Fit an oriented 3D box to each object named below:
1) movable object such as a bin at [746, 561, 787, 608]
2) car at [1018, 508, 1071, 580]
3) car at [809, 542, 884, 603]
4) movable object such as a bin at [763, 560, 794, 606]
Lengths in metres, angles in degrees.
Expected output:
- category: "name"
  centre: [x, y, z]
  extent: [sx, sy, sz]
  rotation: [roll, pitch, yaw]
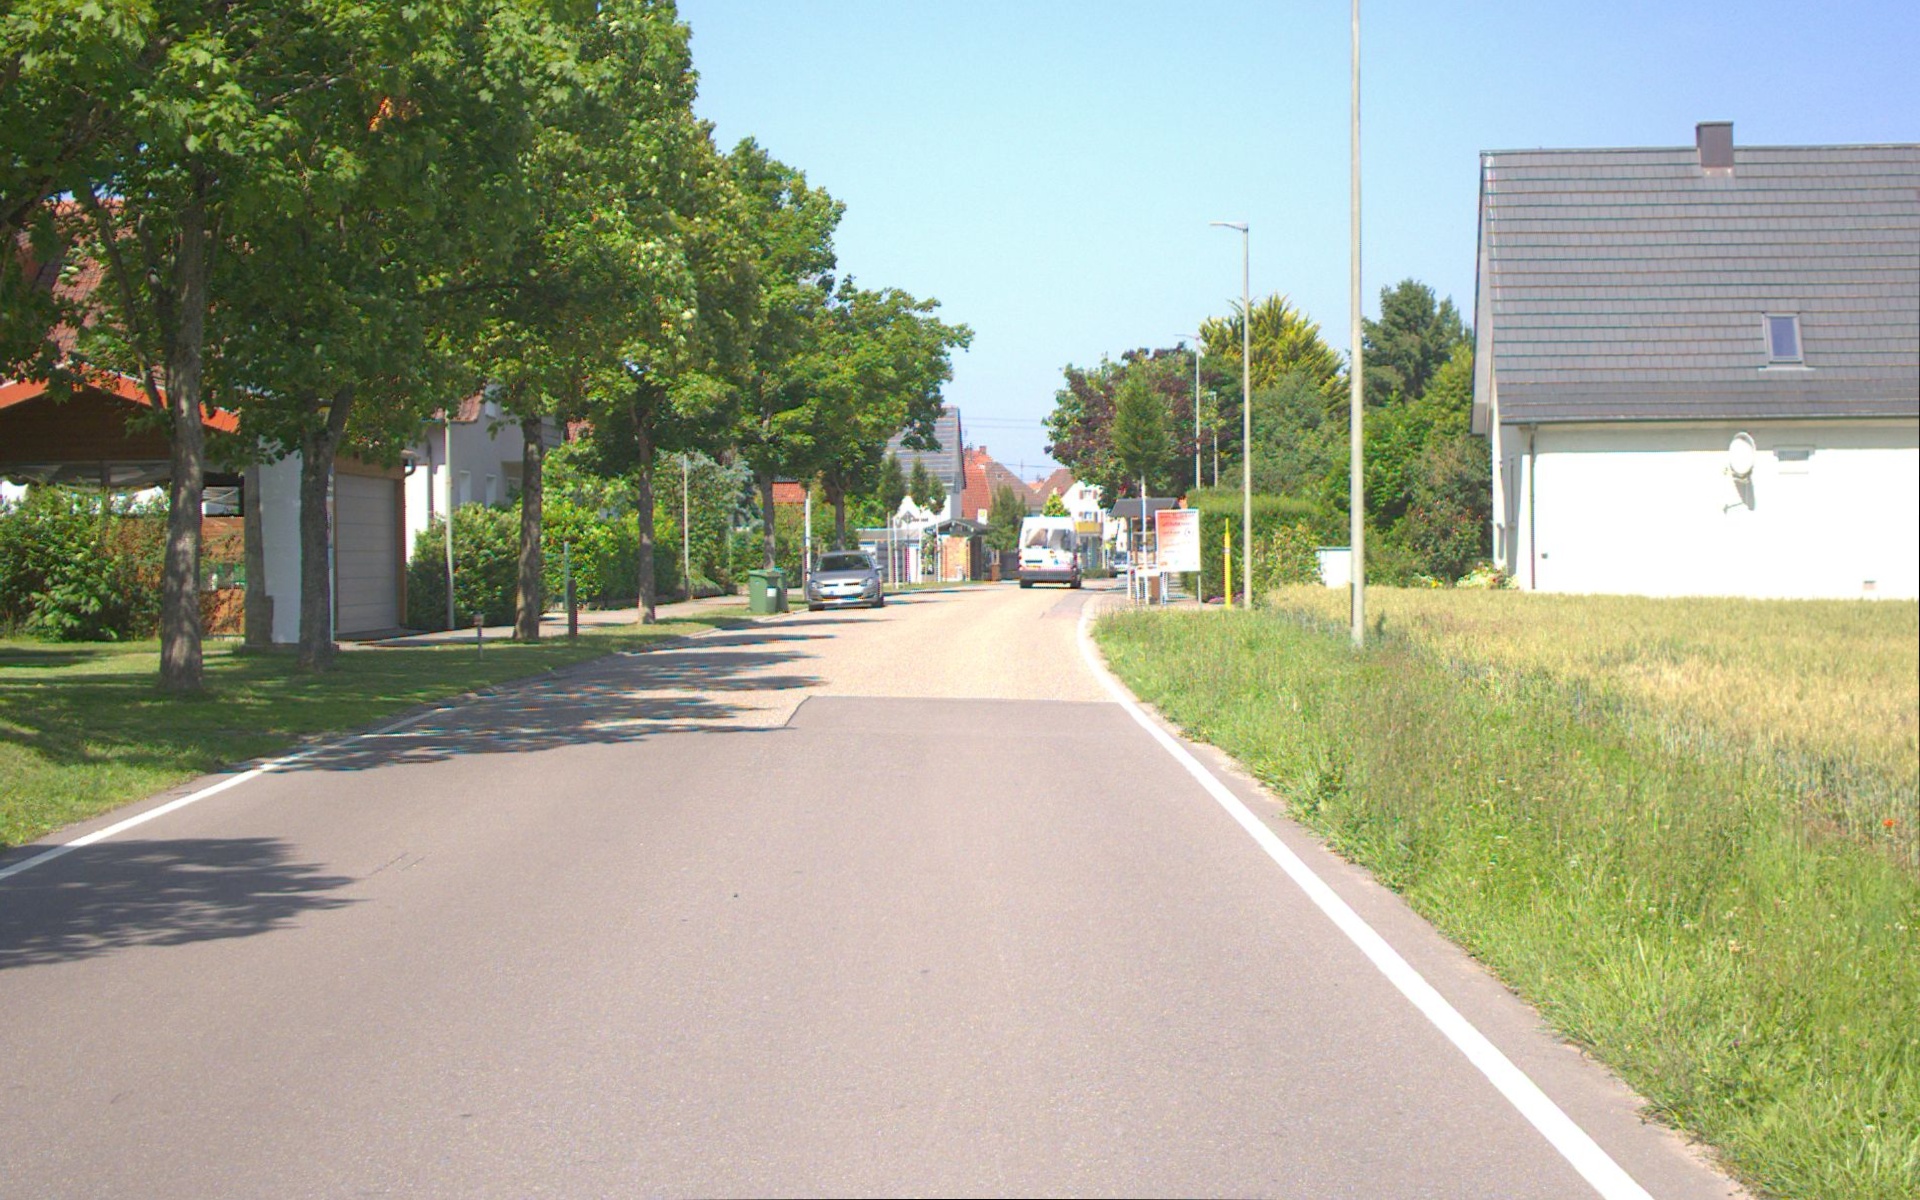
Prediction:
- category: "movable object such as a bin"
  centre: [-4.530, -0.367, 80.337]
  extent: [0.714, 1.075, 0.639]
  rotation: [0, 1, 28]
- category: "car"
  centre: [2.976, -1.934, 119.761]
  extent: [1.738, 2.424, 4.374]
  rotation: [-1, 1, 2]
- category: "car"
  centre: [-2.807, -0.706, 85.969]
  extent: [1.647, 1.419, 4.080]
  rotation: [-3, 1, 0]
- category: "movable object such as a bin"
  centre: [-4.280, -0.405, 81.108]
  extent: [0.575, 1.075, 0.598]
  rotation: [-1, 1, 15]
